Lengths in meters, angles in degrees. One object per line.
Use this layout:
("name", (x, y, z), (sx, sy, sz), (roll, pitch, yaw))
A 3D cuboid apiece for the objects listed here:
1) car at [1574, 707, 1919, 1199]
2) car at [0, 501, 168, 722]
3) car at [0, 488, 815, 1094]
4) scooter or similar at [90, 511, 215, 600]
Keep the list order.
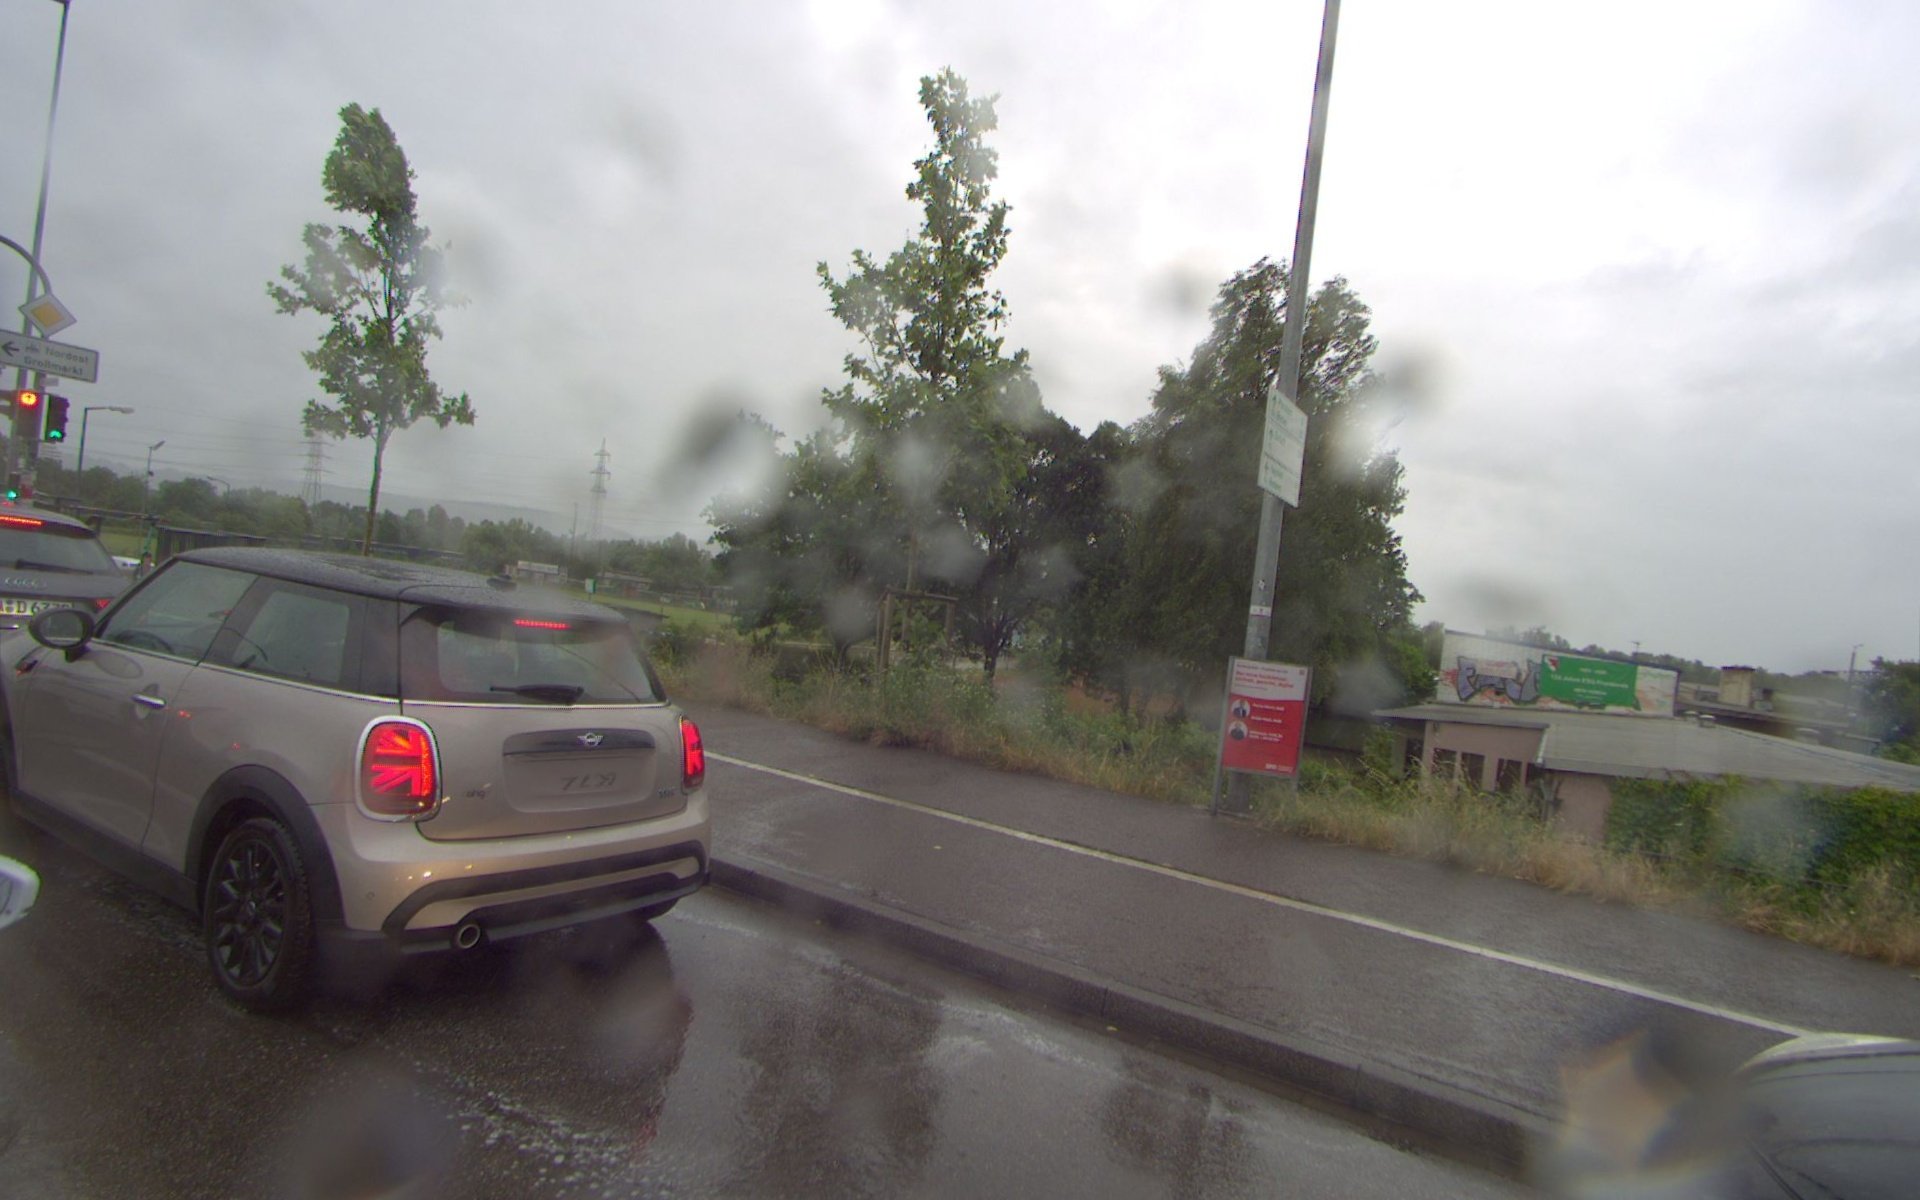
("car", (2.793, 1.159, 1.045), (3.557, 1.526, 1.556), (7, -1, 32))
("car", (-7.543, -0.062, 7.238), (3.569, 1.383, 1.600), (5, -1, 30))
("car", (-2.738, 0.487, 4.378), (3.815, 1.524, 1.707), (6, -4, 32))
("scooter or similar", (-13.877, -0.788, 17.248), (2.971, 1.226, 0.691), (7, 0, 33))
